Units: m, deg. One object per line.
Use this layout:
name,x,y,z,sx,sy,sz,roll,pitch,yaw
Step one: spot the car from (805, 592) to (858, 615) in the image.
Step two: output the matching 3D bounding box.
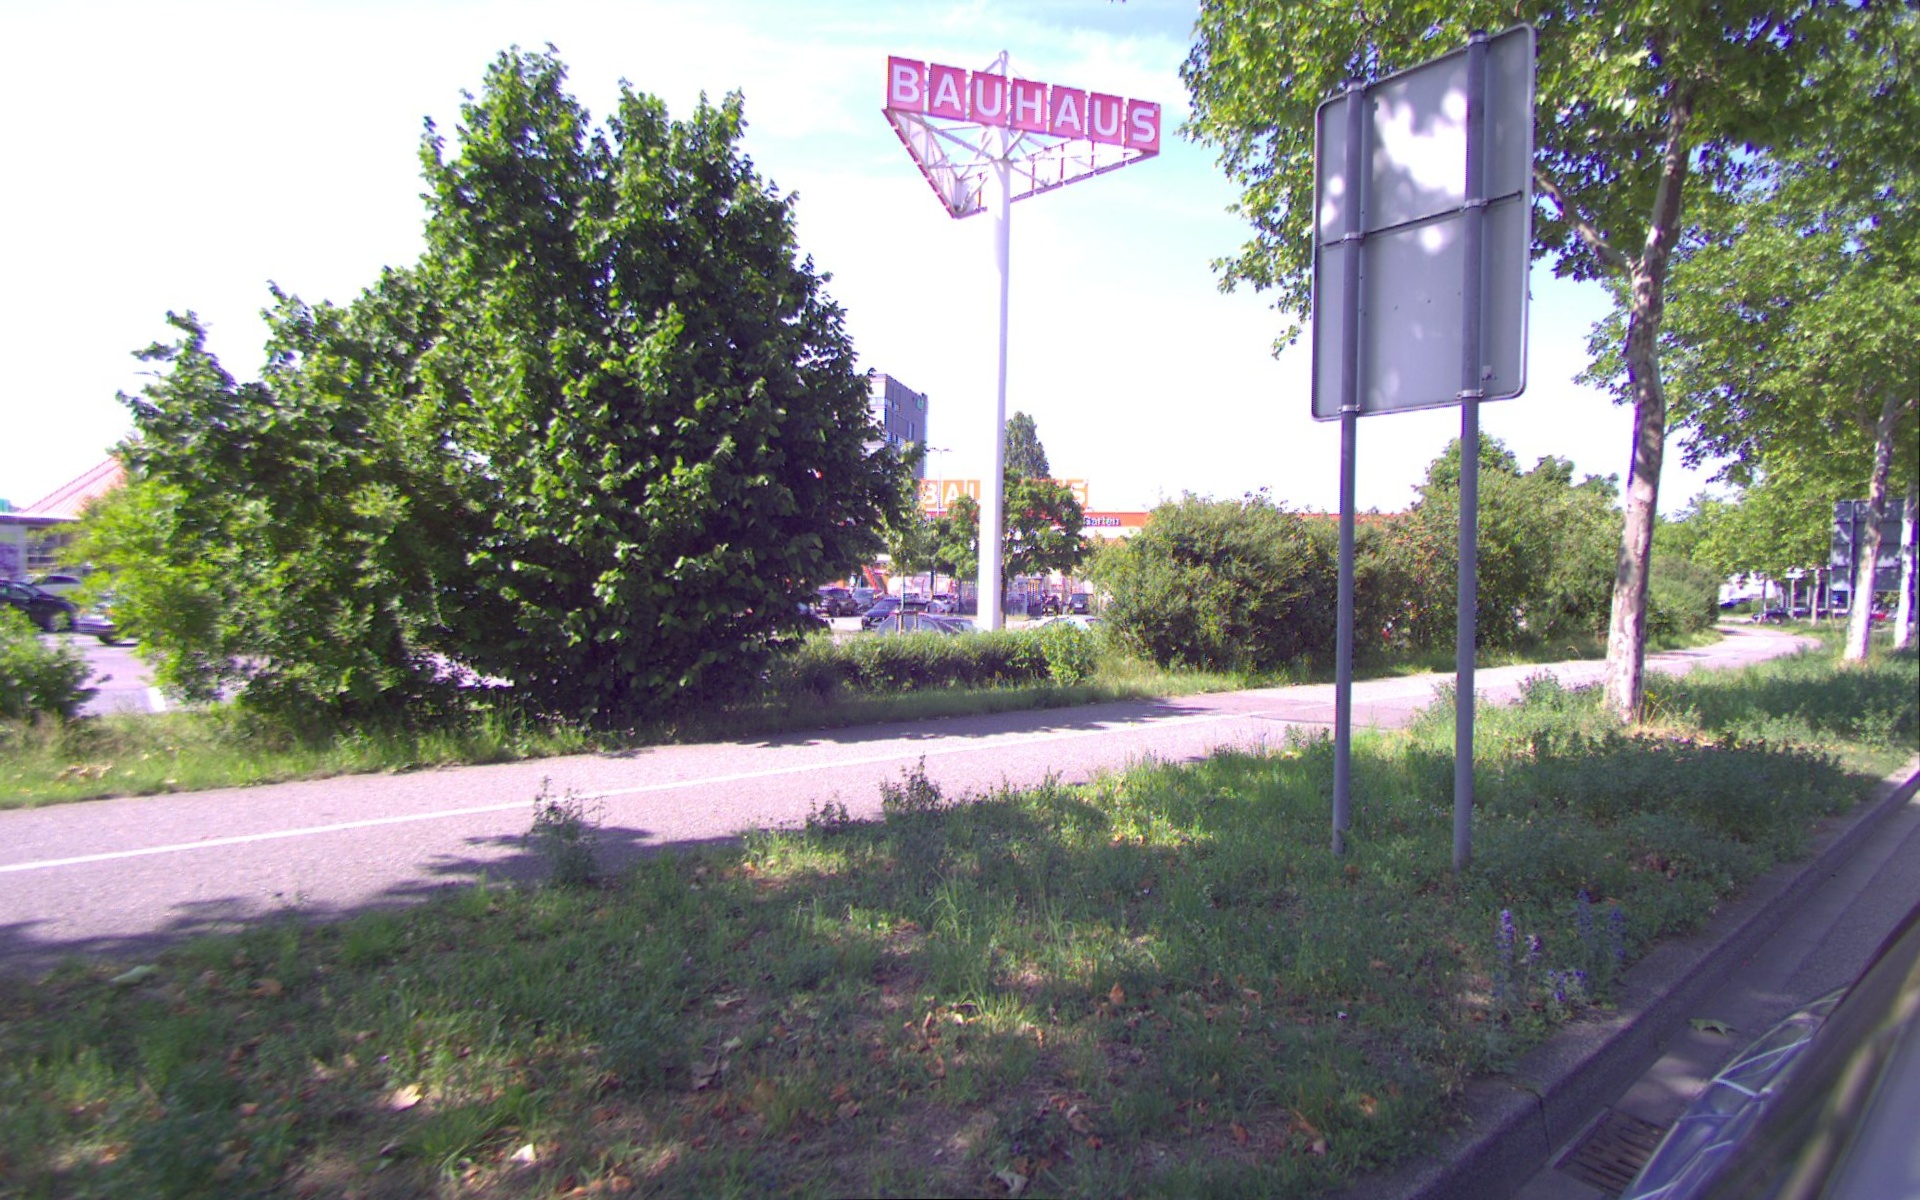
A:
car,-7.445,0.201,58.837,1.583,1.239,3.568,-1,0,21

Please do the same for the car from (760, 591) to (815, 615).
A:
car,-10.088,0.176,59.309,1.583,1.341,3.568,-1,0,21

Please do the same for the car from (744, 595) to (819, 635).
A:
car,-7.098,0.558,40.549,1.752,1.505,3.777,0,0,10

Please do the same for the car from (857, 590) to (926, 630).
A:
car,-3.004,0.433,45.529,1.606,1.648,4.736,3,1,15

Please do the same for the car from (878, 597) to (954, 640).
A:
car,-1.671,0.664,39.854,1.970,1.527,3.984,1,1,13

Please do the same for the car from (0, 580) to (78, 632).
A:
car,-27.749,0.182,28.829,1.472,1.460,3.858,-1,0,12

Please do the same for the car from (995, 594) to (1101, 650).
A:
car,2.549,0.604,29.736,1.175,1.473,3.157,0,2,-42

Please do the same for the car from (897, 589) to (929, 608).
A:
car,-3.491,-0.131,76.346,1.546,1.397,3.605,0,0,12

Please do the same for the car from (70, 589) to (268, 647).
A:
car,-20.422,0.415,26.338,1.426,1.371,3.977,1,0,18
